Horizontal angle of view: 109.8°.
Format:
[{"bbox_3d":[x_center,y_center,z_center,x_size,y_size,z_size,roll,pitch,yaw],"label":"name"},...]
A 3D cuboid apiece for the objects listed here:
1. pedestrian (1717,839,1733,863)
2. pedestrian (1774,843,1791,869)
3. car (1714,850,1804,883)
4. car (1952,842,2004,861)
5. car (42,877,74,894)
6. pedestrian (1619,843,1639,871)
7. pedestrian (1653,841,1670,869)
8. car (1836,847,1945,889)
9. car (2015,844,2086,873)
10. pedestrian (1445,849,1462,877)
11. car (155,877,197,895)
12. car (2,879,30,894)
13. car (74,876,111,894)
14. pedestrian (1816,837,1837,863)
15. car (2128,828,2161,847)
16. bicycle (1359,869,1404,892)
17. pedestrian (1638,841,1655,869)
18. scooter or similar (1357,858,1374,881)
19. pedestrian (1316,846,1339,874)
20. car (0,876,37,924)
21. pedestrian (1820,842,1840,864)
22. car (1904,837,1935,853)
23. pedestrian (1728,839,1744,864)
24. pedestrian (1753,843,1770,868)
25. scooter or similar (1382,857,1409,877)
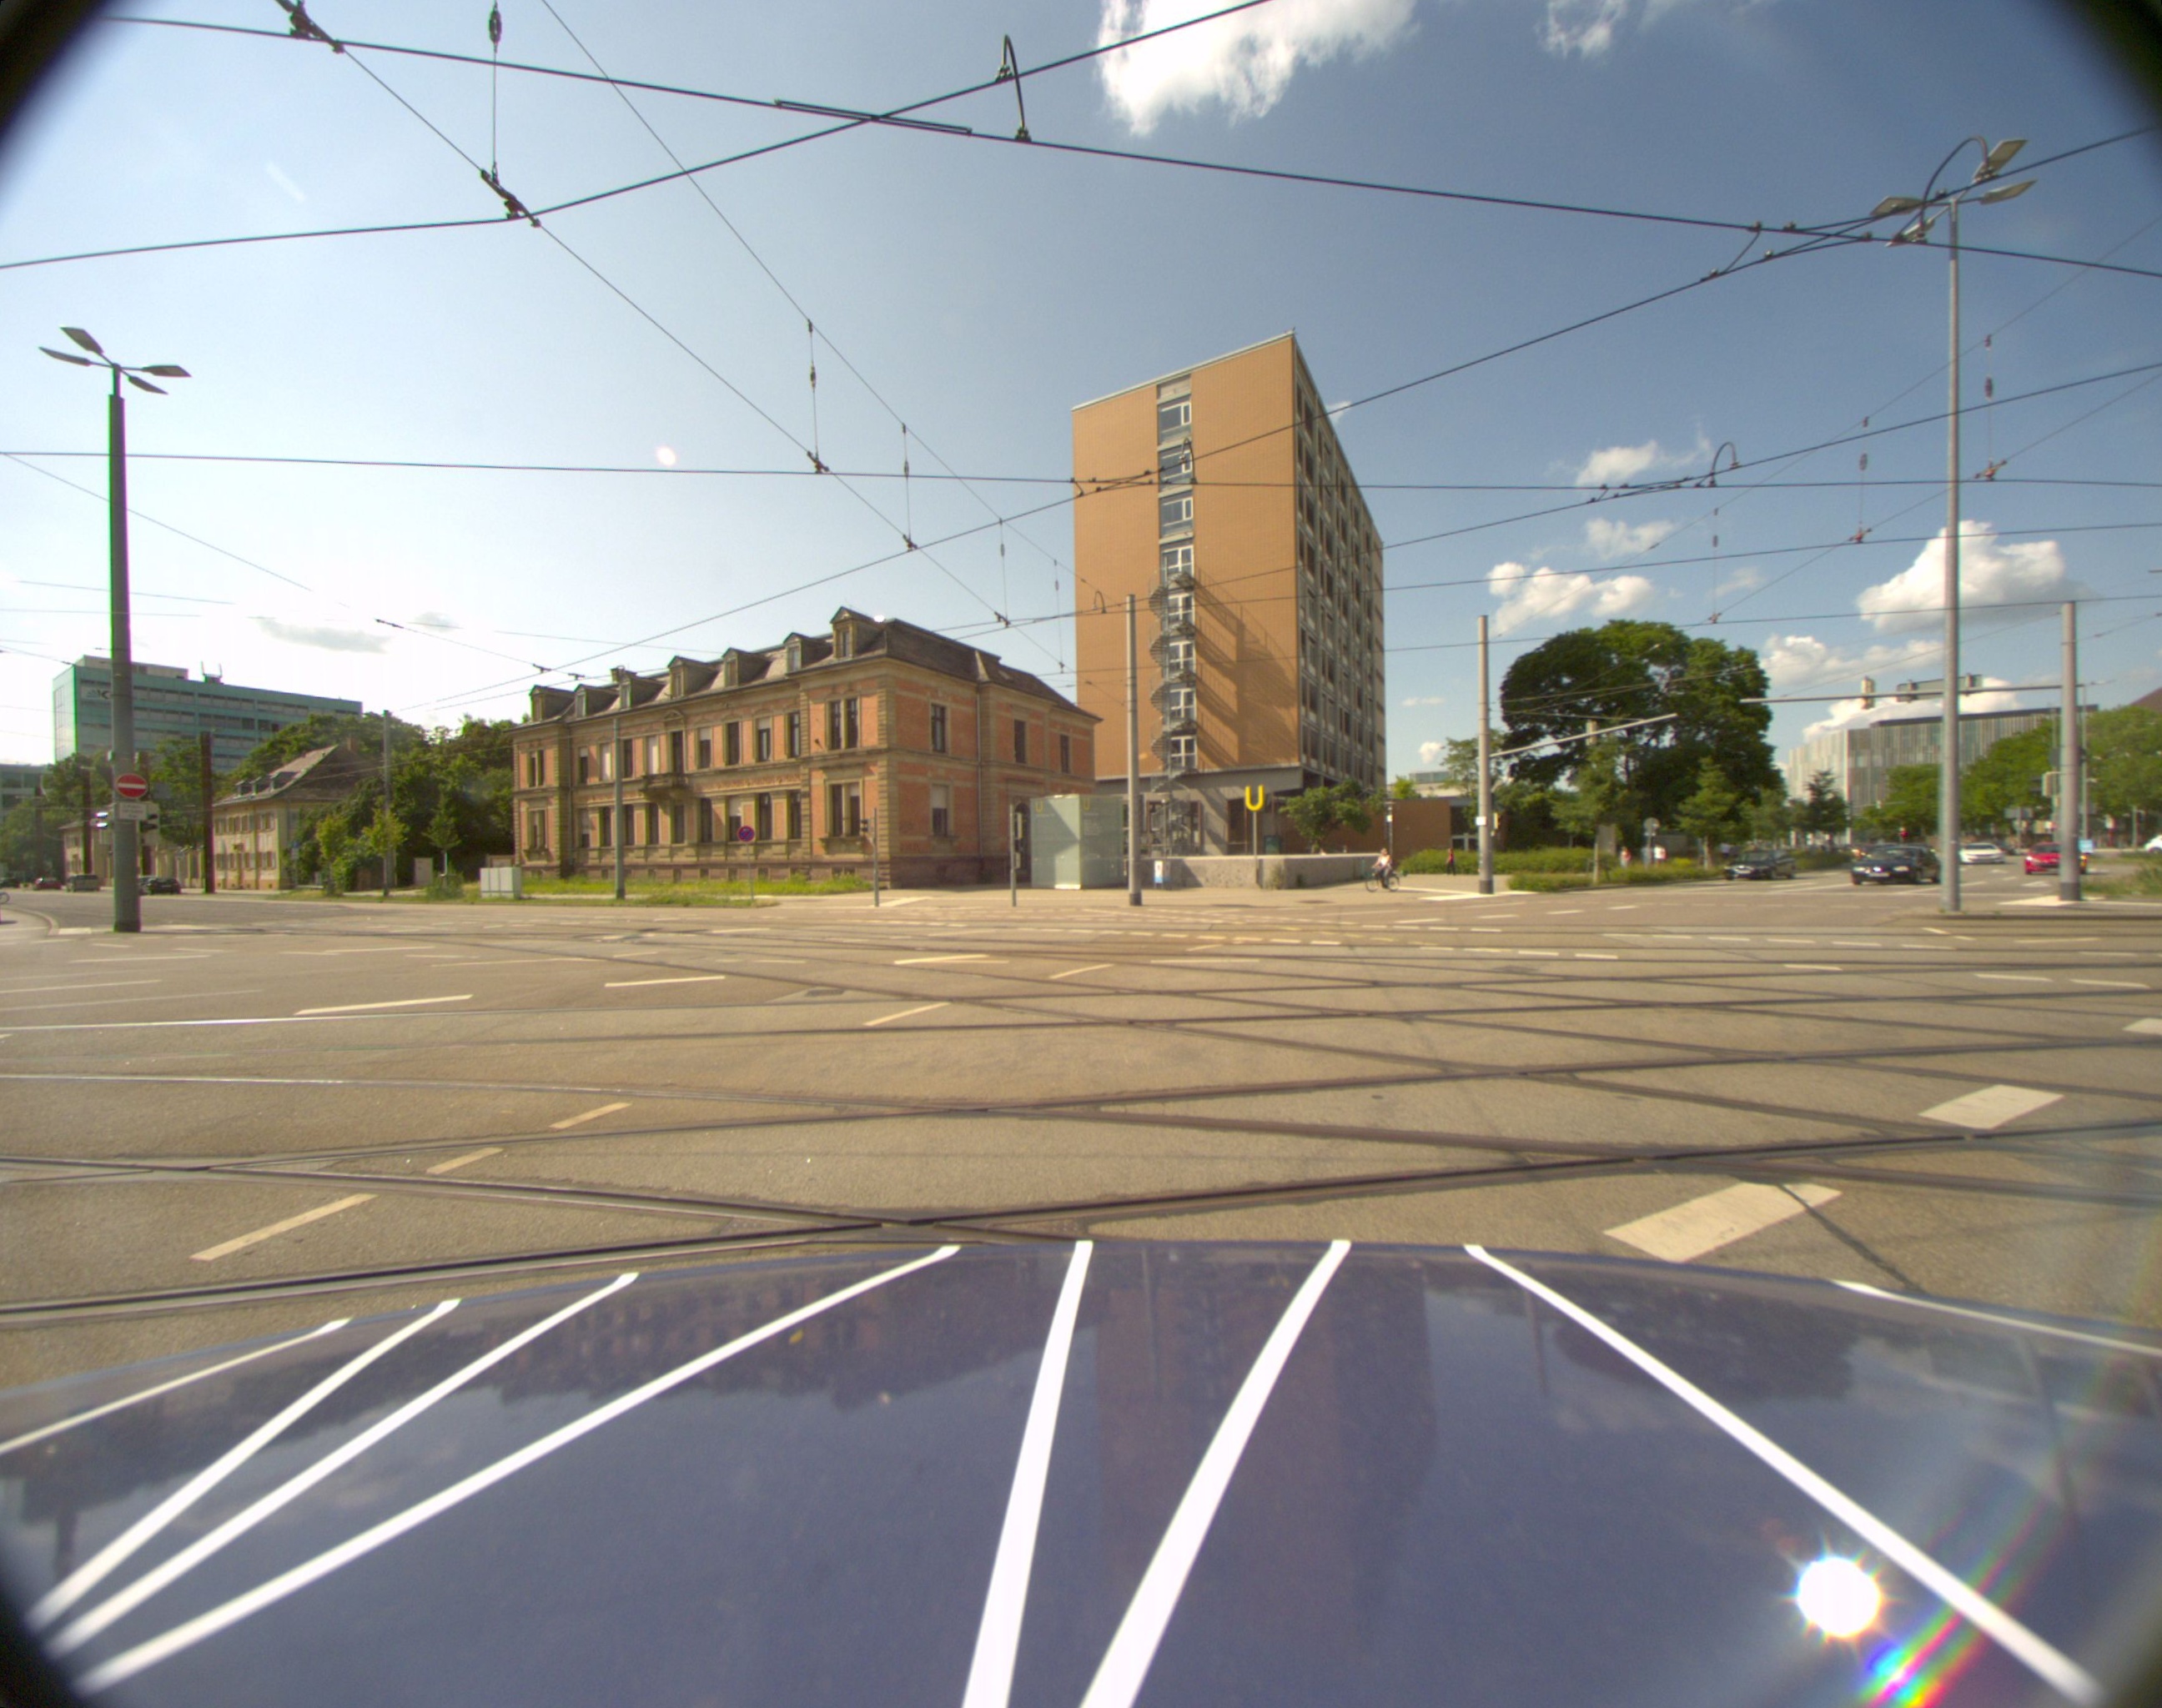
[{"bbox_3d":[47.072,-0.223,55.529,0.891,1.737,0.742,-3,4,-40],"label":"pedestrian"},{"bbox_3d":[48.809,0.124,52.851,0.720,1.724,0.766,-2,-1,-43],"label":"pedestrian"},{"bbox_3d":[32.700,0.593,36.636,4.005,1.454,1.823,-1,0,-26],"label":"car"},{"bbox_3d":[59.662,-0.168,50.508,4.110,1.127,1.905,-1,-1,-36],"label":"car"},{"bbox_3d":[-120.395,3.706,89.406,3.989,1.804,2.004,-1,0,33],"label":"car"},{"bbox_3d":[32.165,0.179,44.593,0.891,1.613,0.614,-2,3,-28],"label":"pedestrian"},{"bbox_3d":[35.051,0.058,45.894,0.891,1.691,0.614,-3,4,-40],"label":"pedestrian"},{"bbox_3d":[31.174,0.533,29.238,4.005,1.454,1.823,-1,0,-27],"label":"car"},{"bbox_3d":[42.942,0.202,33.644,3.635,1.127,1.595,-1,-2,-33],"label":"car"},{"bbox_3d":[22.088,0.552,45.021,0.887,1.613,0.617,1,3,27],"label":"pedestrian"},{"bbox_3d":[-76.480,2.698,64.223,3.989,1.368,2.004,-1,0,36],"label":"car"},{"bbox_3d":[-144.408,4.388,103.021,3.989,1.804,2.004,-1,0,33],"label":"car"},{"bbox_3d":[-102.938,3.226,79.128,3.989,1.804,2.004,-1,0,33],"label":"car"},{"bbox_3d":[57.750,-0.307,58.841,0.770,2.001,0.963,-2,-1,-37],"label":"pedestrian"},{"bbox_3d":[82.045,-1.290,56.866,1.781,1.346,3.994,-2,-1,-19],"label":"car"},{"bbox_3d":[12.338,1.083,31.200,1.825,0.876,0.647,0,2,-26],"label":"bicycle"},{"bbox_3d":[34.582,0.043,46.477,0.891,1.691,0.614,-3,4,-40],"label":"pedestrian"},{"bbox_3d":[14.919,0.800,39.797,0.464,1.111,1.450,1,1,36],"label":"scooter or similar"},{"bbox_3d":[14.709,0.349,45.316,1.097,1.613,0.615,-1,3,-10],"label":"pedestrian"},{"bbox_3d":[-36.277,1.523,24.784,3.989,1.475,1.995,-1,1,45],"label":"car"},{"bbox_3d":[59.705,-0.085,60.567,0.770,1.724,0.926,-2,-1,-37],"label":"pedestrian"},{"bbox_3d":[79.468,-0.834,72.059,4.111,1.426,1.905,-1,-1,-43],"label":"car"},{"bbox_3d":[47.370,-0.200,54.944,0.891,1.744,0.742,-3,4,-40],"label":"pedestrian"},{"bbox_3d":[47.875,0.118,53.476,0.720,1.724,0.766,-2,-1,-43],"label":"pedestrian"},{"bbox_3d":[17.361,0.727,41.986,1.316,1.098,0.466,0,1,10],"label":"scooter or similar"}]
